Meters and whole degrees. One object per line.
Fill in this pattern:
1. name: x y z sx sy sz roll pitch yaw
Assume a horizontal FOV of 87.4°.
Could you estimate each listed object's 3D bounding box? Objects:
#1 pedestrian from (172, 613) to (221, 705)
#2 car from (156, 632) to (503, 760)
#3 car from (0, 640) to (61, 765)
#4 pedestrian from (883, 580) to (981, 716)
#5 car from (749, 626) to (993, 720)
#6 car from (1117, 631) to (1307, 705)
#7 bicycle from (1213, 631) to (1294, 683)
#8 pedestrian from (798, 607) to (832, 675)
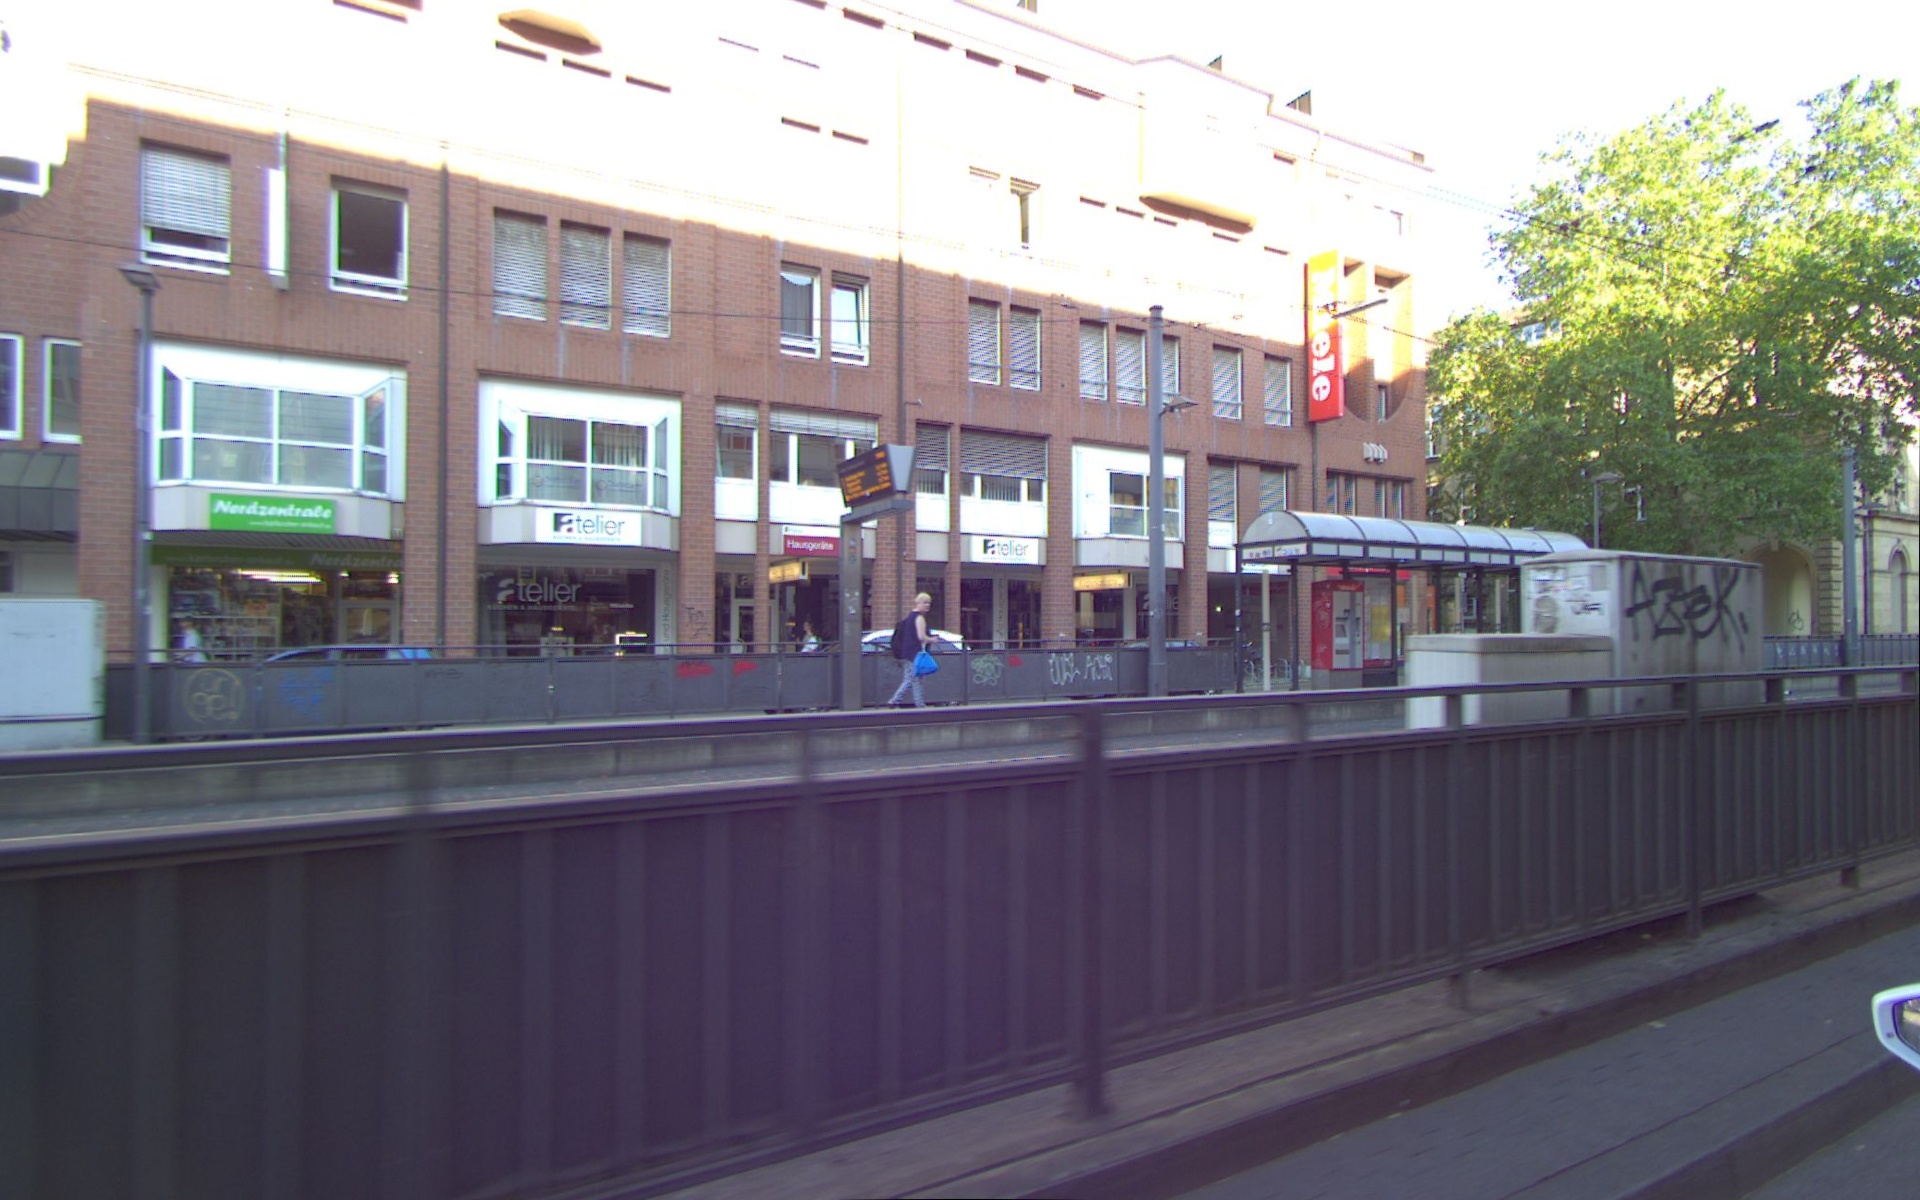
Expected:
1. pedestrian: -14.235 1.090 18.745 0.630 1.684 0.608 1 -1 -30
2. car: -9.179 1.314 14.996 4.148 1.621 1.883 0 -2 -31
3. car: -13.979 1.300 12.320 4.072 1.549 1.892 0 -2 -31
4. pedestrian: -0.365 0.610 13.032 0.956 1.684 0.907 1 -1 -30
5. car: -1.675 1.381 19.153 4.239 1.614 1.902 3 -4 -29
6. car: 6.012 1.610 23.866 4.239 1.614 1.902 3 -4 -29
7. bicycle: 8.568 1.640 29.458 0.828 1.299 2.604 1 1 -21
8. pedestrian: -3.660 1.033 25.323 0.631 1.684 0.607 1 -1 -35
